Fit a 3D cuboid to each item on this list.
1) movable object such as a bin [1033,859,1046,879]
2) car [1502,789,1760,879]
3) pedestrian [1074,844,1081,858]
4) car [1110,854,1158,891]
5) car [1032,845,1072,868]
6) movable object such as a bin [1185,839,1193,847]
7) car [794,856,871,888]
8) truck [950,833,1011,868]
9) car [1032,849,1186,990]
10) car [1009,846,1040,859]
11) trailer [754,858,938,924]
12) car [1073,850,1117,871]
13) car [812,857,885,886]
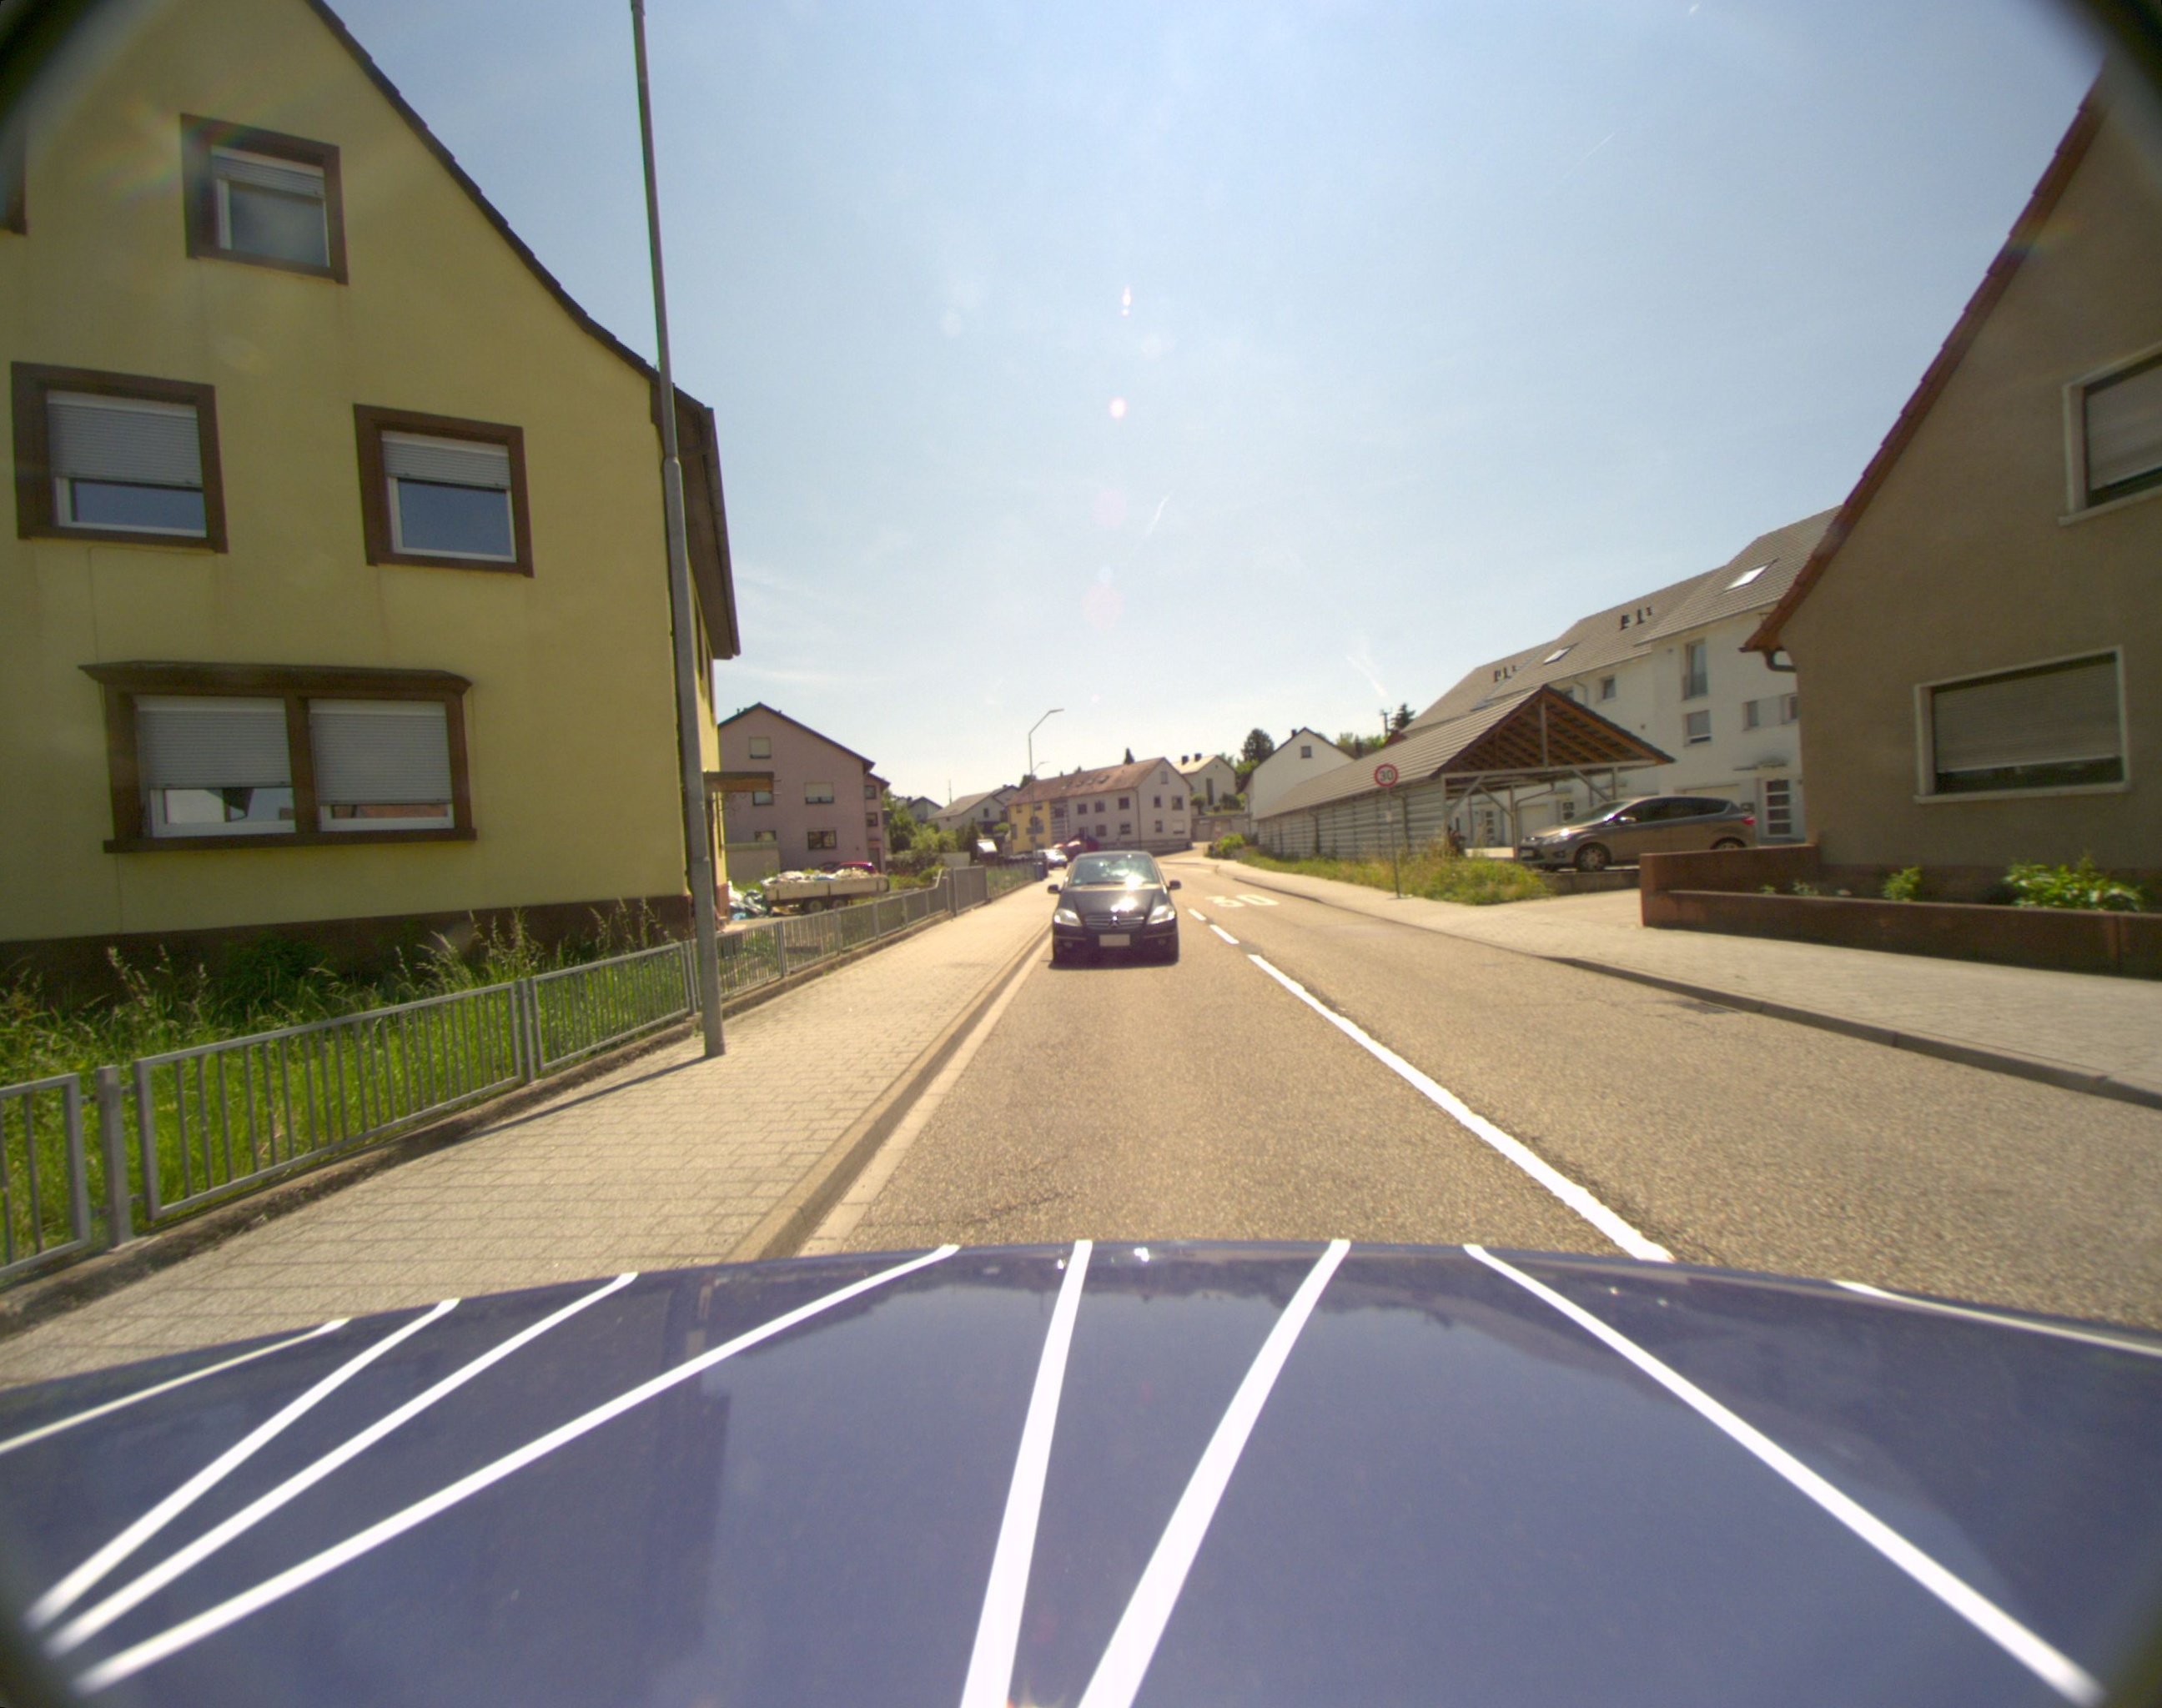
[{"bbox_3d":[-2.338,0.855,43.119,0.567,1.051,0.650,-4,1,-13],"label":"movable object such as a bin"},{"bbox_3d":[11.717,-0.424,16.434,4.133,1.629,1.865,-3,1,4],"label":"car"},{"bbox_3d":[-0.410,-0.306,88.660,0.613,1.578,0.808,-4,1,-8],"label":"pedestrian"},{"bbox_3d":[2.396,0.755,33.449,1.812,1.307,4.001,-4,1,7],"label":"car"},{"bbox_3d":[-2.867,0.285,73.430,1.871,1.897,5.027,-6,1,-26],"label":"car"},{"bbox_3d":[12.192,-1.236,85.618,0.601,0.929,0.599,-5,2,-43],"label":"movable object such as a bin"},{"bbox_3d":[-14.967,1.075,45.717,4.129,1.539,1.847,-4,1,-24],"label":"car"},{"bbox_3d":[-12.071,-0.341,90.145,3.210,3.579,8.287,-5,1,-37],"label":"truck"},{"bbox_3d":[0.508,0.794,11.323,1.764,1.583,4.199,-4,0,5],"label":"car"},{"bbox_3d":[-7.231,-0.185,96.710,1.739,1.543,4.177,-5,2,-41],"label":"car"},{"bbox_3d":[-7.650,1.128,24.809,5.370,1.537,2.134,-5,1,-26],"label":"trailer"},{"bbox_3d":[0.988,0.474,56.691,1.899,1.368,3.994,-5,0,-20],"label":"car"},{"bbox_3d":[-13.378,0.989,43.646,3.841,1.477,1.758,-3,1,-20],"label":"car"}]
